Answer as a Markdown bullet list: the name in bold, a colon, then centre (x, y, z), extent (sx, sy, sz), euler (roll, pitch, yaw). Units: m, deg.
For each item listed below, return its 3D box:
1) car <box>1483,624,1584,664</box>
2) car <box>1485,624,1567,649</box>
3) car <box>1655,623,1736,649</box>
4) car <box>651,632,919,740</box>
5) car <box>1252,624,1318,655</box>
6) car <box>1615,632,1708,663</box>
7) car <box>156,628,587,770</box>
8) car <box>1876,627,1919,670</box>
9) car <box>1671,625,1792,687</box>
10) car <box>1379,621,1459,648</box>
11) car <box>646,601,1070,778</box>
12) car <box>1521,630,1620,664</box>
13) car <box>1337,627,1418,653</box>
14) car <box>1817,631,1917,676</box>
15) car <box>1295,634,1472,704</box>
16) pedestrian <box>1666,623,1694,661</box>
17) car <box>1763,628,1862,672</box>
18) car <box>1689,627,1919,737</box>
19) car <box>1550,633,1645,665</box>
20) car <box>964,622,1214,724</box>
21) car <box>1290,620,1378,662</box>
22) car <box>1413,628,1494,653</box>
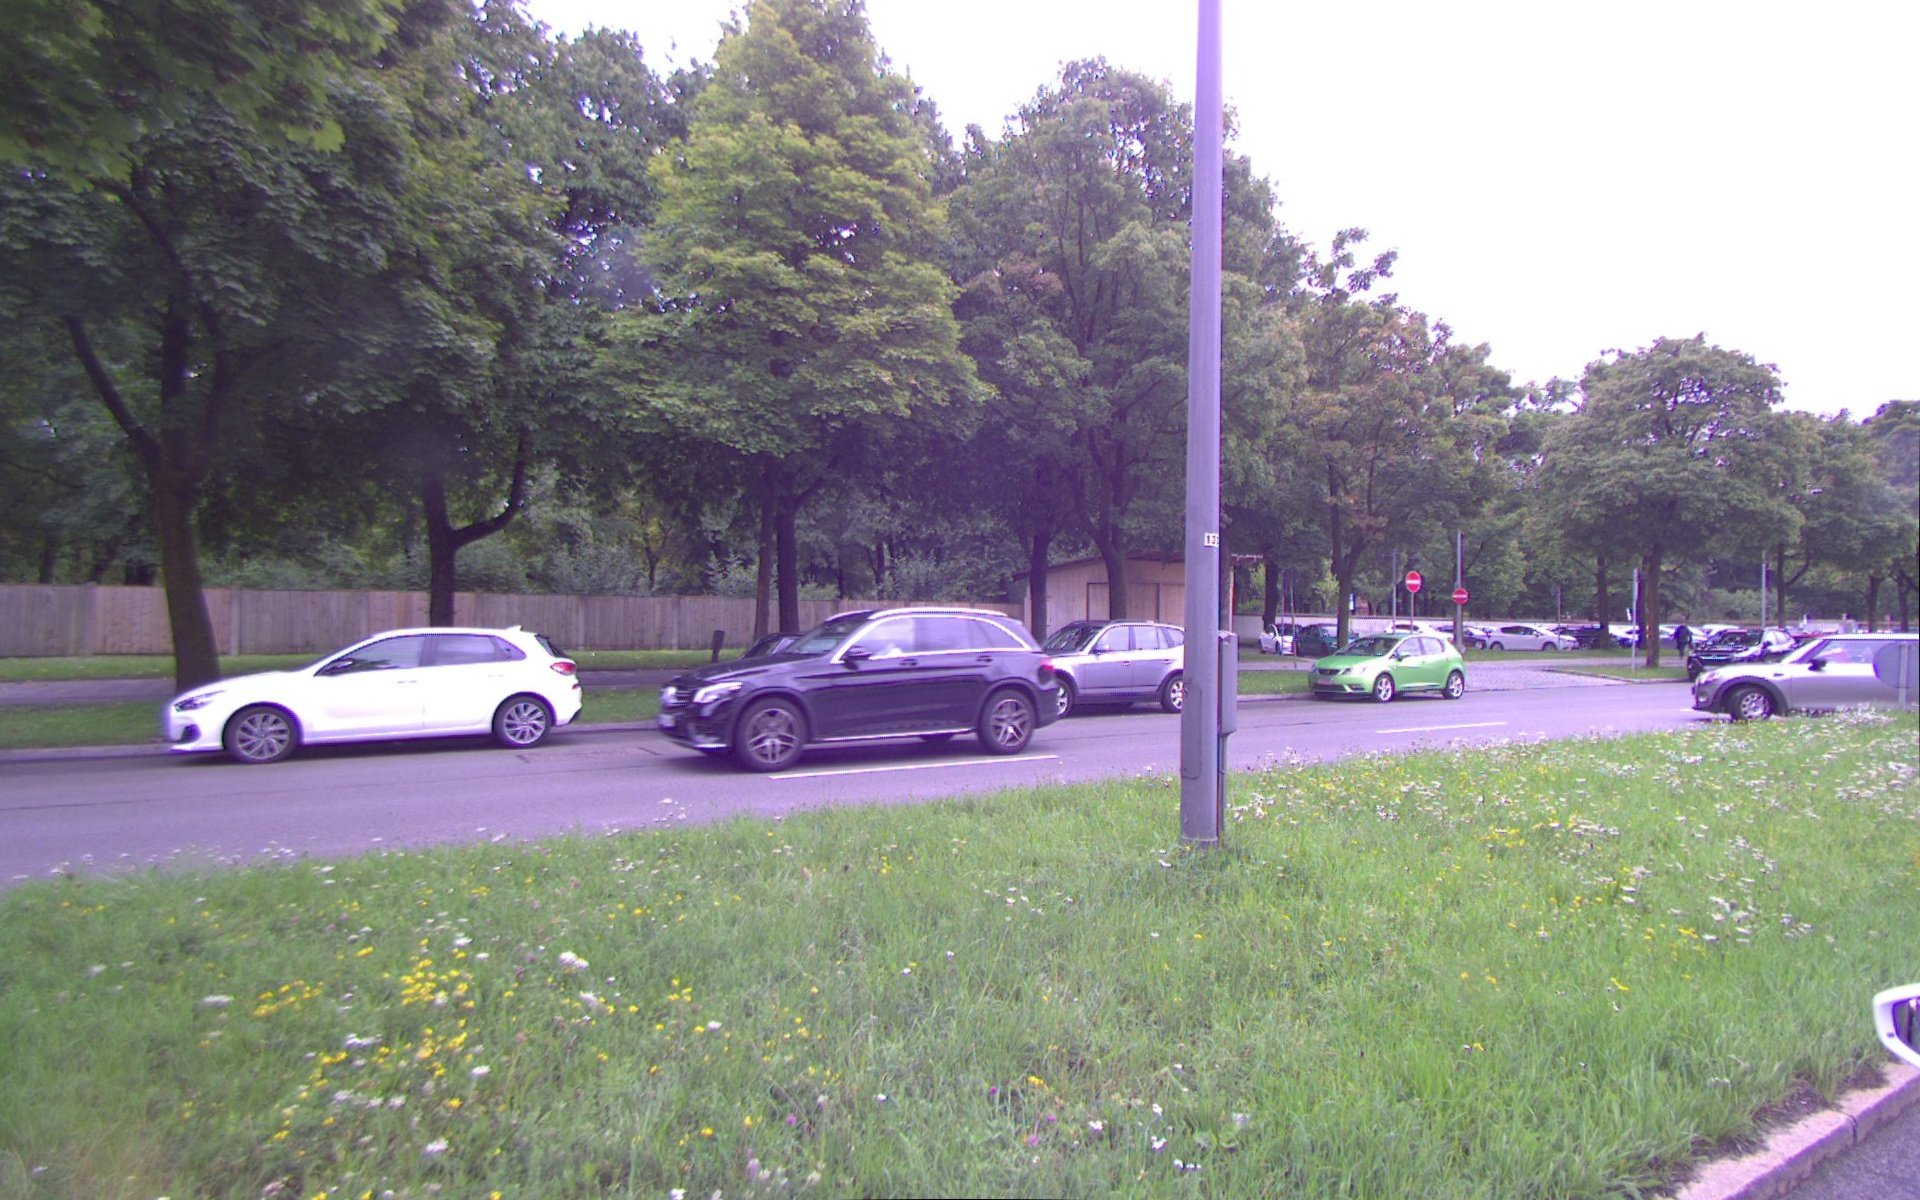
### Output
- **car**: centre (27.611, 2.082, 48.421), extent (1.656, 1.740, 3.892), euler (1, 0, -35)
- **car**: centre (38.383, 2.443, 68.189), extent (1.653, 1.465, 4.669), euler (2, 0, -29)
- **car**: centre (46.770, 2.290, 63.910), extent (1.656, 1.465, 3.840), euler (2, 0, -35)
- **car**: centre (-2.546, 1.184, 14.758), extent (3.586, 1.415, 1.584), euler (1, -2, -29)
- **car**: centre (14.805, 1.769, 45.998), extent (1.639, 1.217, 4.421), euler (2, 0, 1)
- **car**: centre (38.190, 2.569, 54.747), extent (1.656, 1.465, 3.840), euler (2, 0, -35)
- **car**: centre (-6.871, 1.087, 12.150), extent (4.230, 1.463, 1.599), euler (1, -2, -31)
- **car**: centre (37.150, 1.860, 38.845), extent (3.836, 1.579, 1.582), euler (2, 0, -32)
- **car**: centre (23.785, 1.686, 30.941), extent (3.836, 1.764, 1.707), euler (2, 0, -32)
- **car**: centre (28.880, 2.142, 63.330), extent (1.653, 1.496, 4.485), euler (2, 0, -29)
- **car**: centre (-1.065, 0.912, 11.315), extent (4.455, 1.644, 1.757), euler (1, -3, -31)
- **car**: centre (30.137, 2.305, 49.700), extent (1.656, 1.465, 3.840), euler (2, 0, -35)
- **car**: centre (26.061, 2.478, 62.859), extent (1.652, 1.465, 4.671), euler (2, 0, -28)
- **car**: centre (32.564, 1.889, 36.032), extent (3.836, 1.465, 1.658), euler (2, 0, -32)
- **car**: centre (9.310, 1.459, 22.028), extent (3.831, 1.428, 1.541), euler (1, -2, -29)
- **pedestrian**: centre (30.947, 1.800, 43.150), extent (0.712, 1.554, 0.724), euler (1, 0, -30)
- **car**: centre (28.574, 1.655, 33.640), extent (3.343, 1.329, 1.582), euler (2, 0, -32)
- **car**: centre (13.480, 1.205, 15.328), extent (3.679, 1.482, 1.679), euler (0, -1, 42)
- **car**: centre (33.241, 2.518, 52.429), extent (1.656, 1.465, 3.840), euler (2, 0, -35)
- **car**: centre (2.330, 1.222, 17.772), extent (4.322, 1.607, 1.682), euler (1, -2, -32)
- **car**: centre (14.934, 1.606, 40.379), extent (1.922, 1.465, 4.421), euler (2, 0, 1)
- **car**: centre (32.517, 2.662, 66.259), extent (1.653, 1.465, 4.669), euler (2, 0, -29)
